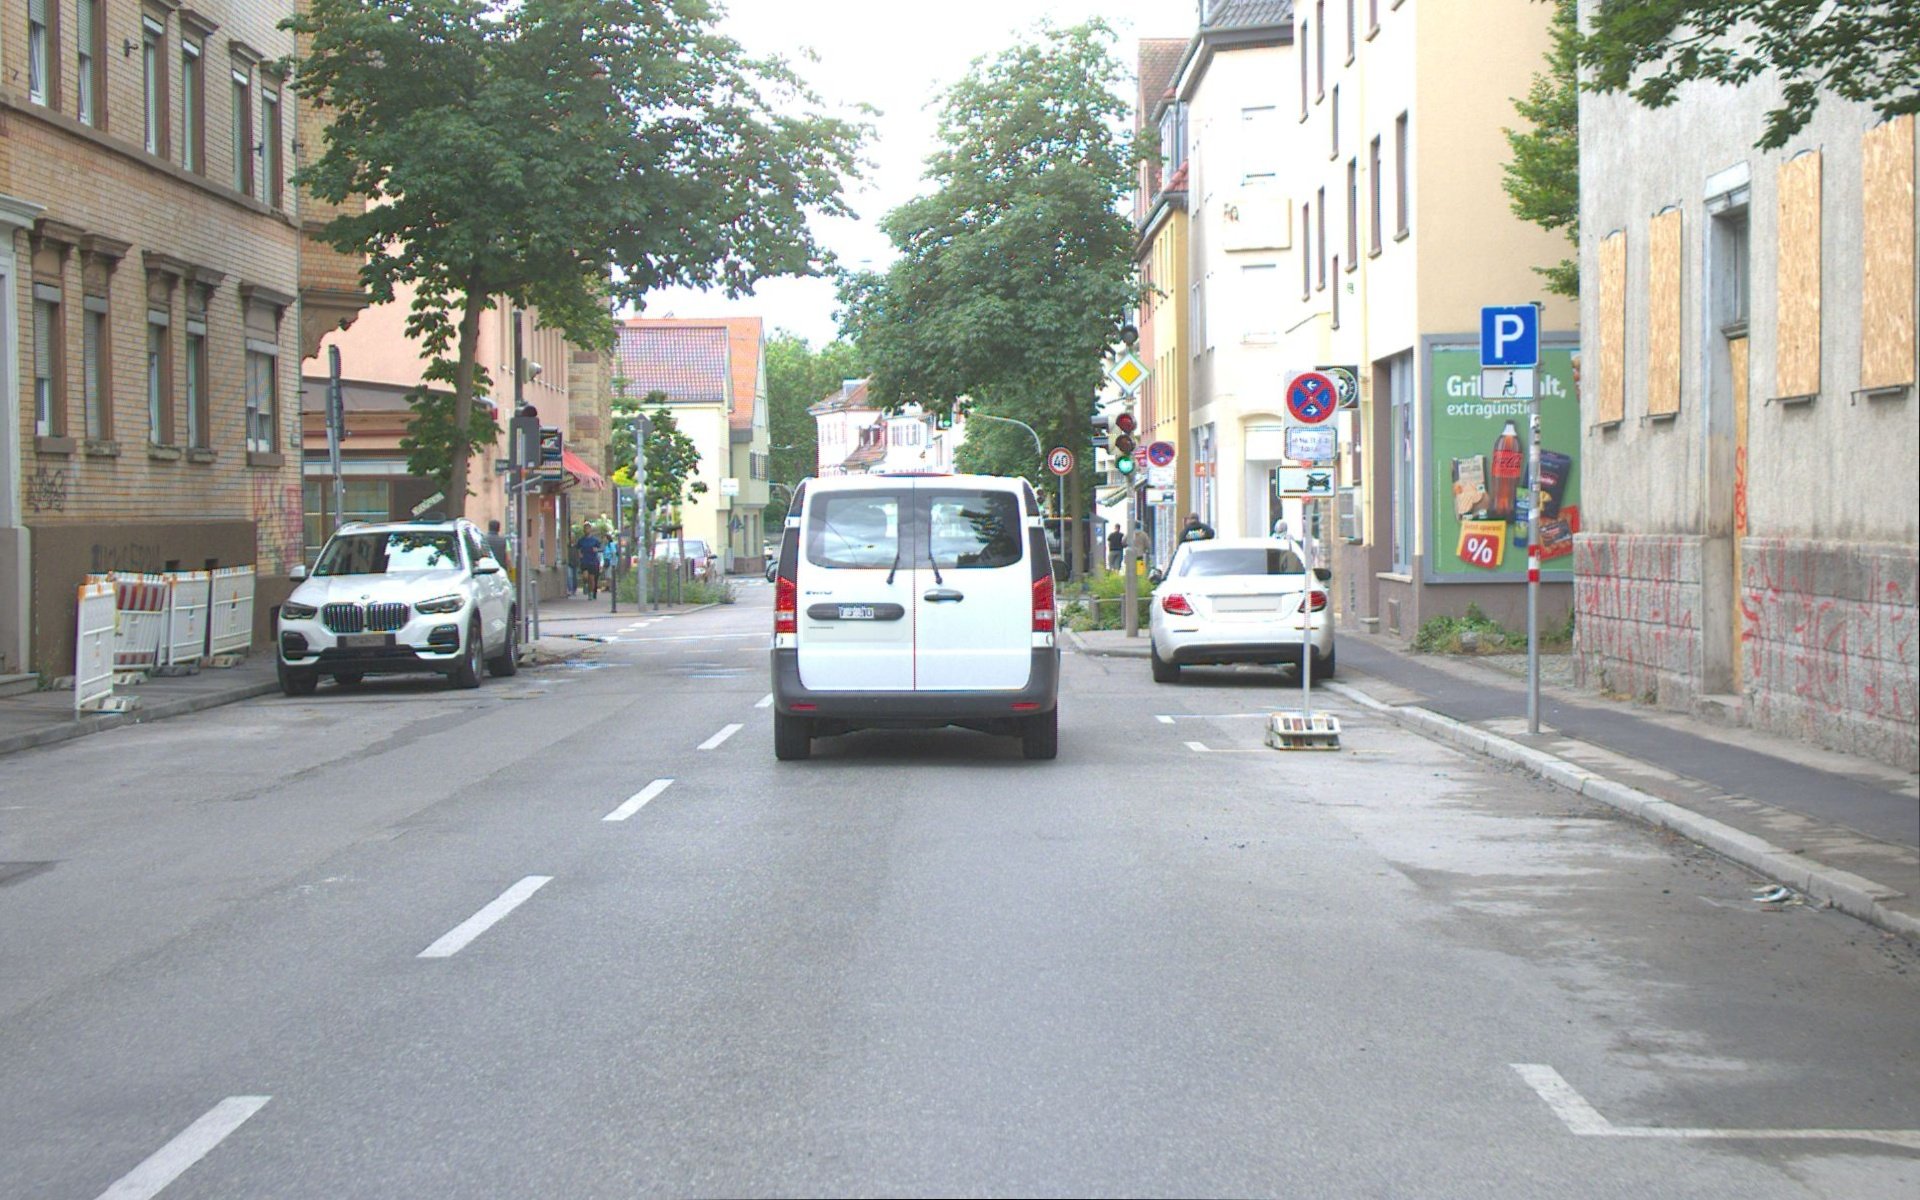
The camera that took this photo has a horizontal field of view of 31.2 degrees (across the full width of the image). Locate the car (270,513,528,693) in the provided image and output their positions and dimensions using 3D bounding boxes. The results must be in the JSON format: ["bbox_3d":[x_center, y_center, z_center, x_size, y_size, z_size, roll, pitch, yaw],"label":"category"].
[{"bbox_3d":[-5.857,-0.020,36.442,1.891,1.706,4.741,-2,1,0],"label":"car"}]

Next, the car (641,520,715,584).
[{"bbox_3d":[-7.407,-1.284,90.596,1.702,1.568,4.451,-3,1,-2],"label":"car"}]

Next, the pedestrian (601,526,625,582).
[{"bbox_3d":[-9.693,-1.296,96.016,0.571,1.549,0.697,1,1,-1],"label":"pedestrian"}]

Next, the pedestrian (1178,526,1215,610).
[{"bbox_3d":[4.642,-0.636,67.559,0.614,1.647,0.983,0,1,-2],"label":"pedestrian"}]

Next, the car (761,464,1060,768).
[{"bbox_3d":[-0.332,0.065,23.672,1.872,1.905,4.000,0,1,-1],"label":"car"}]

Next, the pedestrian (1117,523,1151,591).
[{"bbox_3d":[4.263,-1.058,84.337,0.701,1.643,0.889,-2,1,-2],"label":"pedestrian"}]

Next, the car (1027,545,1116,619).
[{"bbox_3d":[2.732,-0.463,85.200,1.819,1.775,4.404,0,1,-3],"label":"car"}]

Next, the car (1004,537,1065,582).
[{"bbox_3d":[2.211,-1.210,102.682,1.551,1.328,3.813,0,1,-3],"label":"car"}]

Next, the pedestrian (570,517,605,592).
[{"bbox_3d":[-8.531,-1.044,78.678,0.738,1.712,1.157,0,1,-3],"label":"pedestrian"}]

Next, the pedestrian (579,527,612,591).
[{"bbox_3d":[-8.887,-1.006,83.943,0.738,1.529,0.983,0,1,-2],"label":"pedestrian"}]

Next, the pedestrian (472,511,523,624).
[{"bbox_3d":[-7.172,-0.511,53.311,0.738,1.748,0.983,0,1,-6],"label":"pedestrian"}]

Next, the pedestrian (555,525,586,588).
[{"bbox_3d":[-10.090,-1.139,89.139,0.730,1.623,0.759,-1,1,-10],"label":"pedestrian"}]

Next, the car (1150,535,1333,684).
[{"bbox_3d":[2.920,0.049,36.464,1.767,1.461,4.783,0,1,3],"label":"car"}]
